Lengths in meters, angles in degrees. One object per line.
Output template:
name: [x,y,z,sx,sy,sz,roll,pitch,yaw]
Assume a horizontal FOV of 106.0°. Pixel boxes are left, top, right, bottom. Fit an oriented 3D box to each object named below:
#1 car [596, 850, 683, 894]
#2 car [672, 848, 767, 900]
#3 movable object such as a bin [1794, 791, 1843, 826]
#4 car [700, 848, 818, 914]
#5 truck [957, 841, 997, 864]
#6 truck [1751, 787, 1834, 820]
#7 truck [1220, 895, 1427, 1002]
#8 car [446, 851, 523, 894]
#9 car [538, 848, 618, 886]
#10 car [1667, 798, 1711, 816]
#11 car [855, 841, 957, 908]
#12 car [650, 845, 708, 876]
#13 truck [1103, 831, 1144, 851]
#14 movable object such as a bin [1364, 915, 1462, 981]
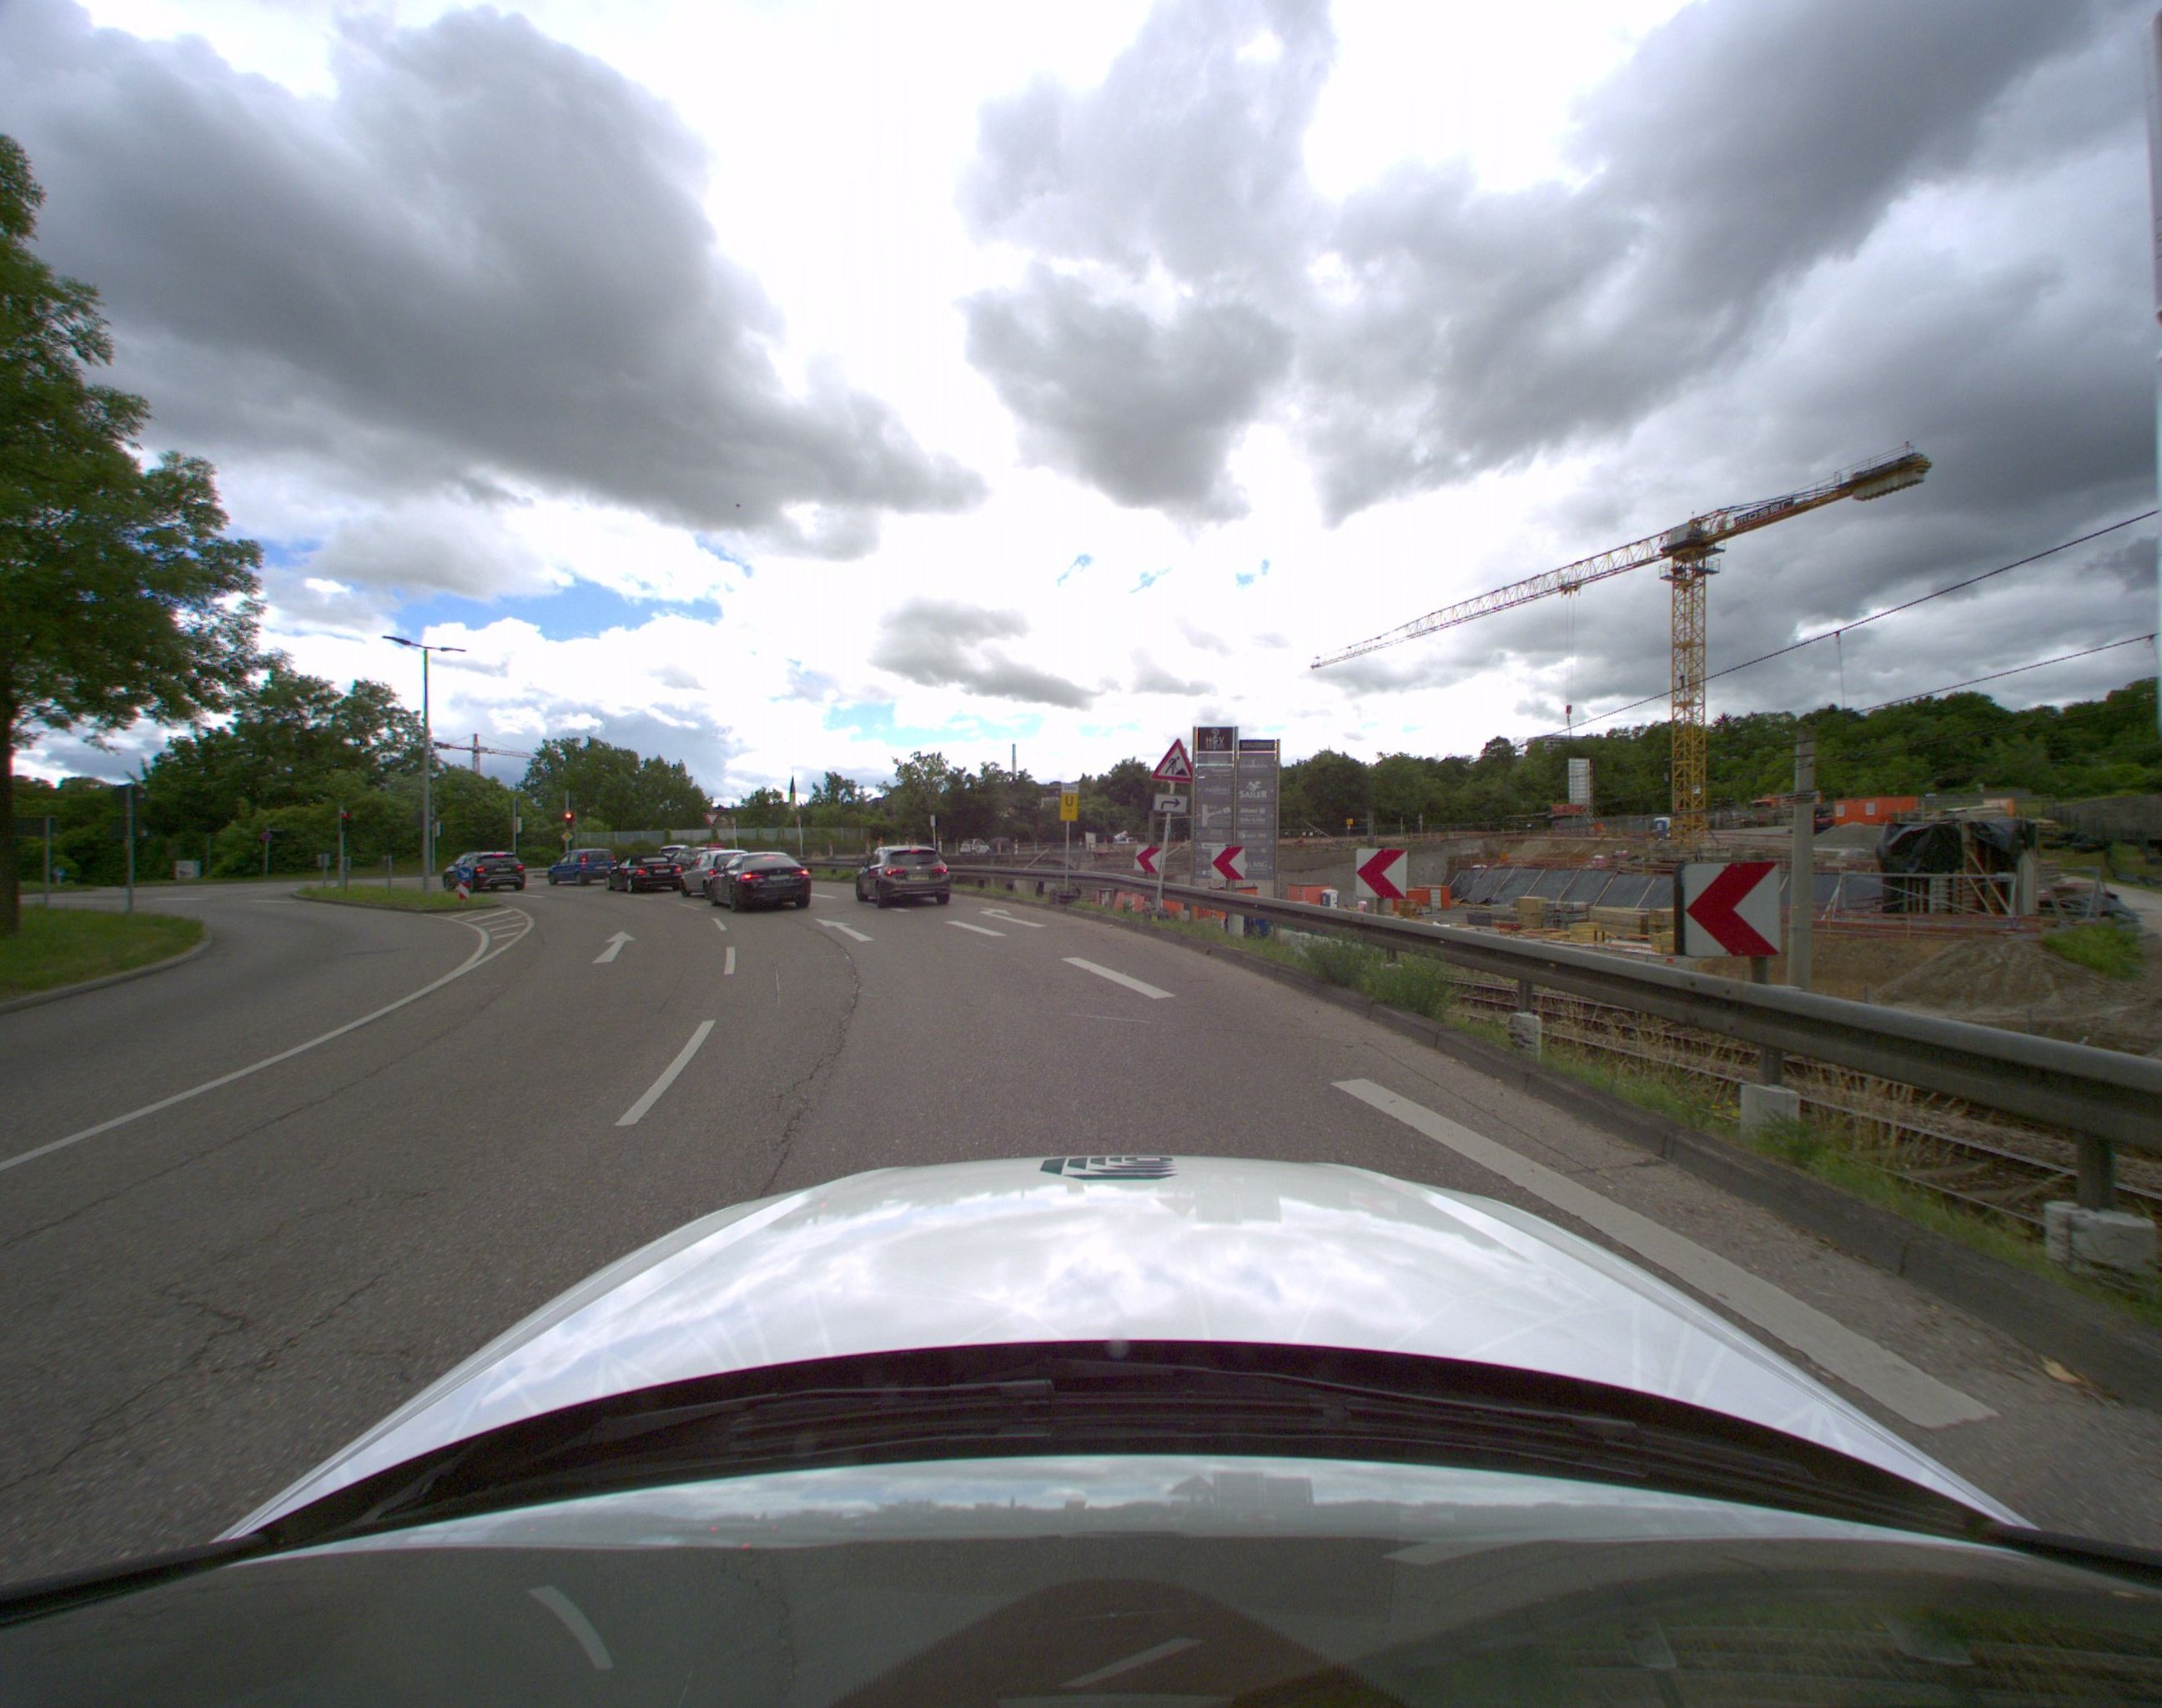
car: [-16.423,0.626,30.232,4.032,1.367,1.578,1,5,43]
car: [-11.754,0.600,26.370,1.683,1.469,3.585,-5,4,-42]
movable object such as a bin: [68.856,-4.210,76.048,1.835,3.077,2.791,-1,-1,-10]
car: [-8.808,0.626,22.000,1.886,1.476,4.912,-4,2,-34]
truck: [-9.582,-0.149,75.064,1.718,2.014,3.247,1,-1,41]
truck: [95.056,-6.723,108.820,9.764,4.220,3.109,-1,1,-11]
truck: [12.076,4.564,42.393,2.855,3.892,11.510,-1,2,-30]
car: [-23.797,0.695,32.464,3.722,1.507,1.672,0,4,42]
car: [-21.642,0.550,35.005,3.336,1.507,1.558,-1,2,32]
car: [73.997,-5.729,99.164,3.983,2.014,1.995,-1,-1,-7]
car: [-4.728,0.460,21.587,1.806,1.552,3.968,-2,1,-25]
car: [-23.386,0.391,47.509,1.709,1.675,3.992,-1,0,-6]
truck: [4.607,-1.423,87.916,4.018,2.014,1.978,2,-1,-37]
movable object such as a bin: [17.899,4.996,44.123,3.041,2.748,4.270,-1,3,-13]
